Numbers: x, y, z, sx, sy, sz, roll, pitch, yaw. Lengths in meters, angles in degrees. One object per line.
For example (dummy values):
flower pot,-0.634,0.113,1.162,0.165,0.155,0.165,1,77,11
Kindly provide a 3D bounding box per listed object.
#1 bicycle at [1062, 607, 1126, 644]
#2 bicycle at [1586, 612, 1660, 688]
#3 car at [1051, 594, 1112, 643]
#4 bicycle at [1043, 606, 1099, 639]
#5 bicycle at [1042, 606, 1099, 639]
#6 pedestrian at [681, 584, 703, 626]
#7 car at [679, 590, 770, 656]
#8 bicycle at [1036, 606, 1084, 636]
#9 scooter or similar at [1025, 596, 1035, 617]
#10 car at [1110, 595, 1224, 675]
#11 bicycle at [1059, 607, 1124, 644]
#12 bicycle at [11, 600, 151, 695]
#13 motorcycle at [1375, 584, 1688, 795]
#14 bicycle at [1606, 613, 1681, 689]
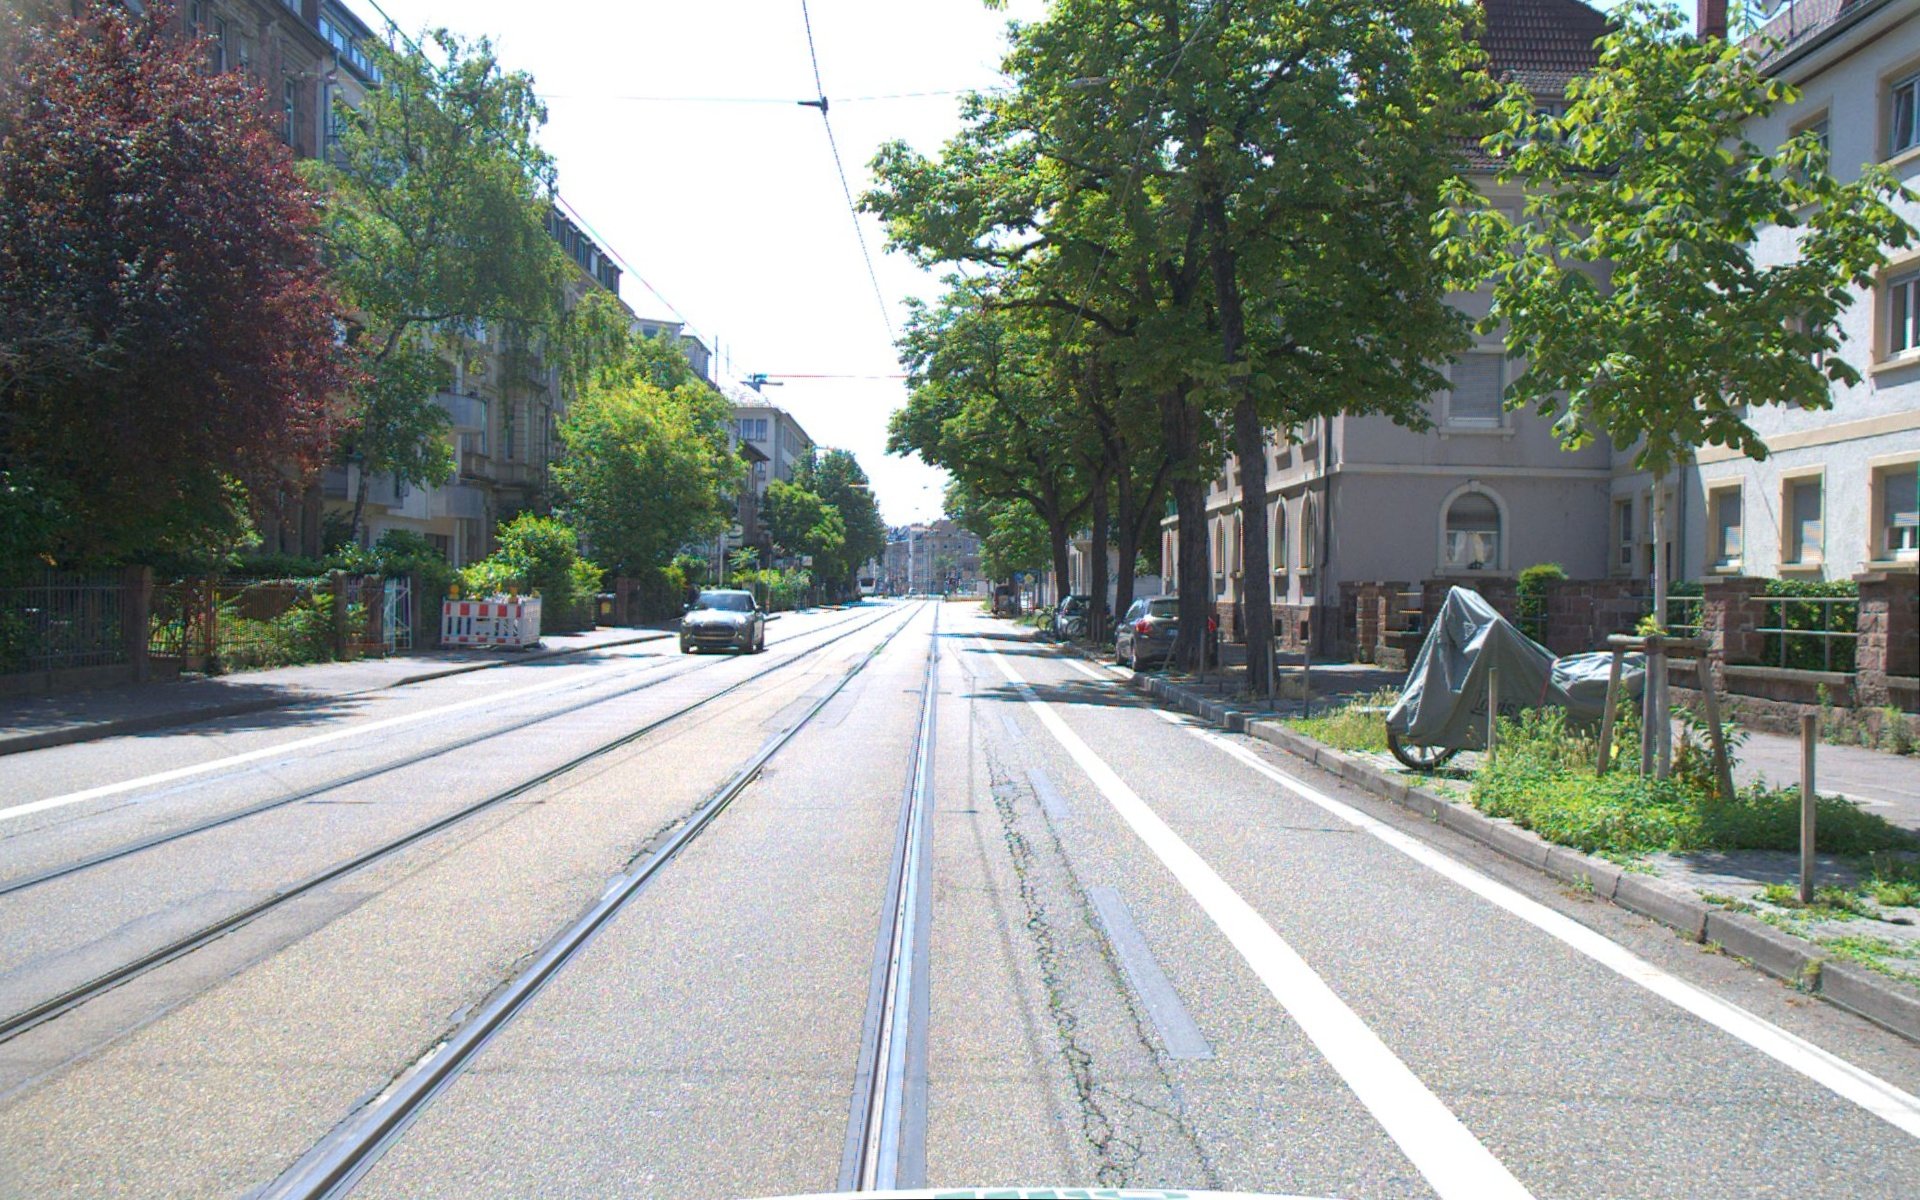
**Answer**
bicycle,3.981,0.760,49.088,1.849,1.070,0.538,0,0,6
bicycle,9.825,0.724,24.556,0.450,1.074,1.564,0,0,-1
car,3.923,0.576,53.729,1.589,1.473,3.809,-2,0,-1
bicycle,3.899,0.804,58.156,1.922,1.133,0.599,-1,-1,1
bicycle,3.924,0.804,58.779,1.968,1.133,0.640,-1,-1,1
pedestrian,-10.825,0.202,66.776,0.735,1.657,0.833,1,0,0
car,-5.564,0.508,39.469,1.652,1.480,3.748,1,0,-1
bicycle,3.815,0.792,63.323,1.779,1.133,0.493,0,-1,-2
scooter or similar,4.248,0.387,100.100,0.491,1.251,1.573,1,0,-1
car,4.327,0.690,35.189,1.738,1.527,4.304,-1,1,-2
bicycle,3.948,0.749,49.507,1.921,1.082,0.599,0,0,6
bicycle,-12.303,0.666,23.182,1.582,1.208,0.508,4,0,-14
motorcycle,4.653,0.669,13.588,2.279,1.567,0.864,1,0,42
bicycle,10.150,0.739,24.600,0.450,1.074,1.564,0,0,-1
